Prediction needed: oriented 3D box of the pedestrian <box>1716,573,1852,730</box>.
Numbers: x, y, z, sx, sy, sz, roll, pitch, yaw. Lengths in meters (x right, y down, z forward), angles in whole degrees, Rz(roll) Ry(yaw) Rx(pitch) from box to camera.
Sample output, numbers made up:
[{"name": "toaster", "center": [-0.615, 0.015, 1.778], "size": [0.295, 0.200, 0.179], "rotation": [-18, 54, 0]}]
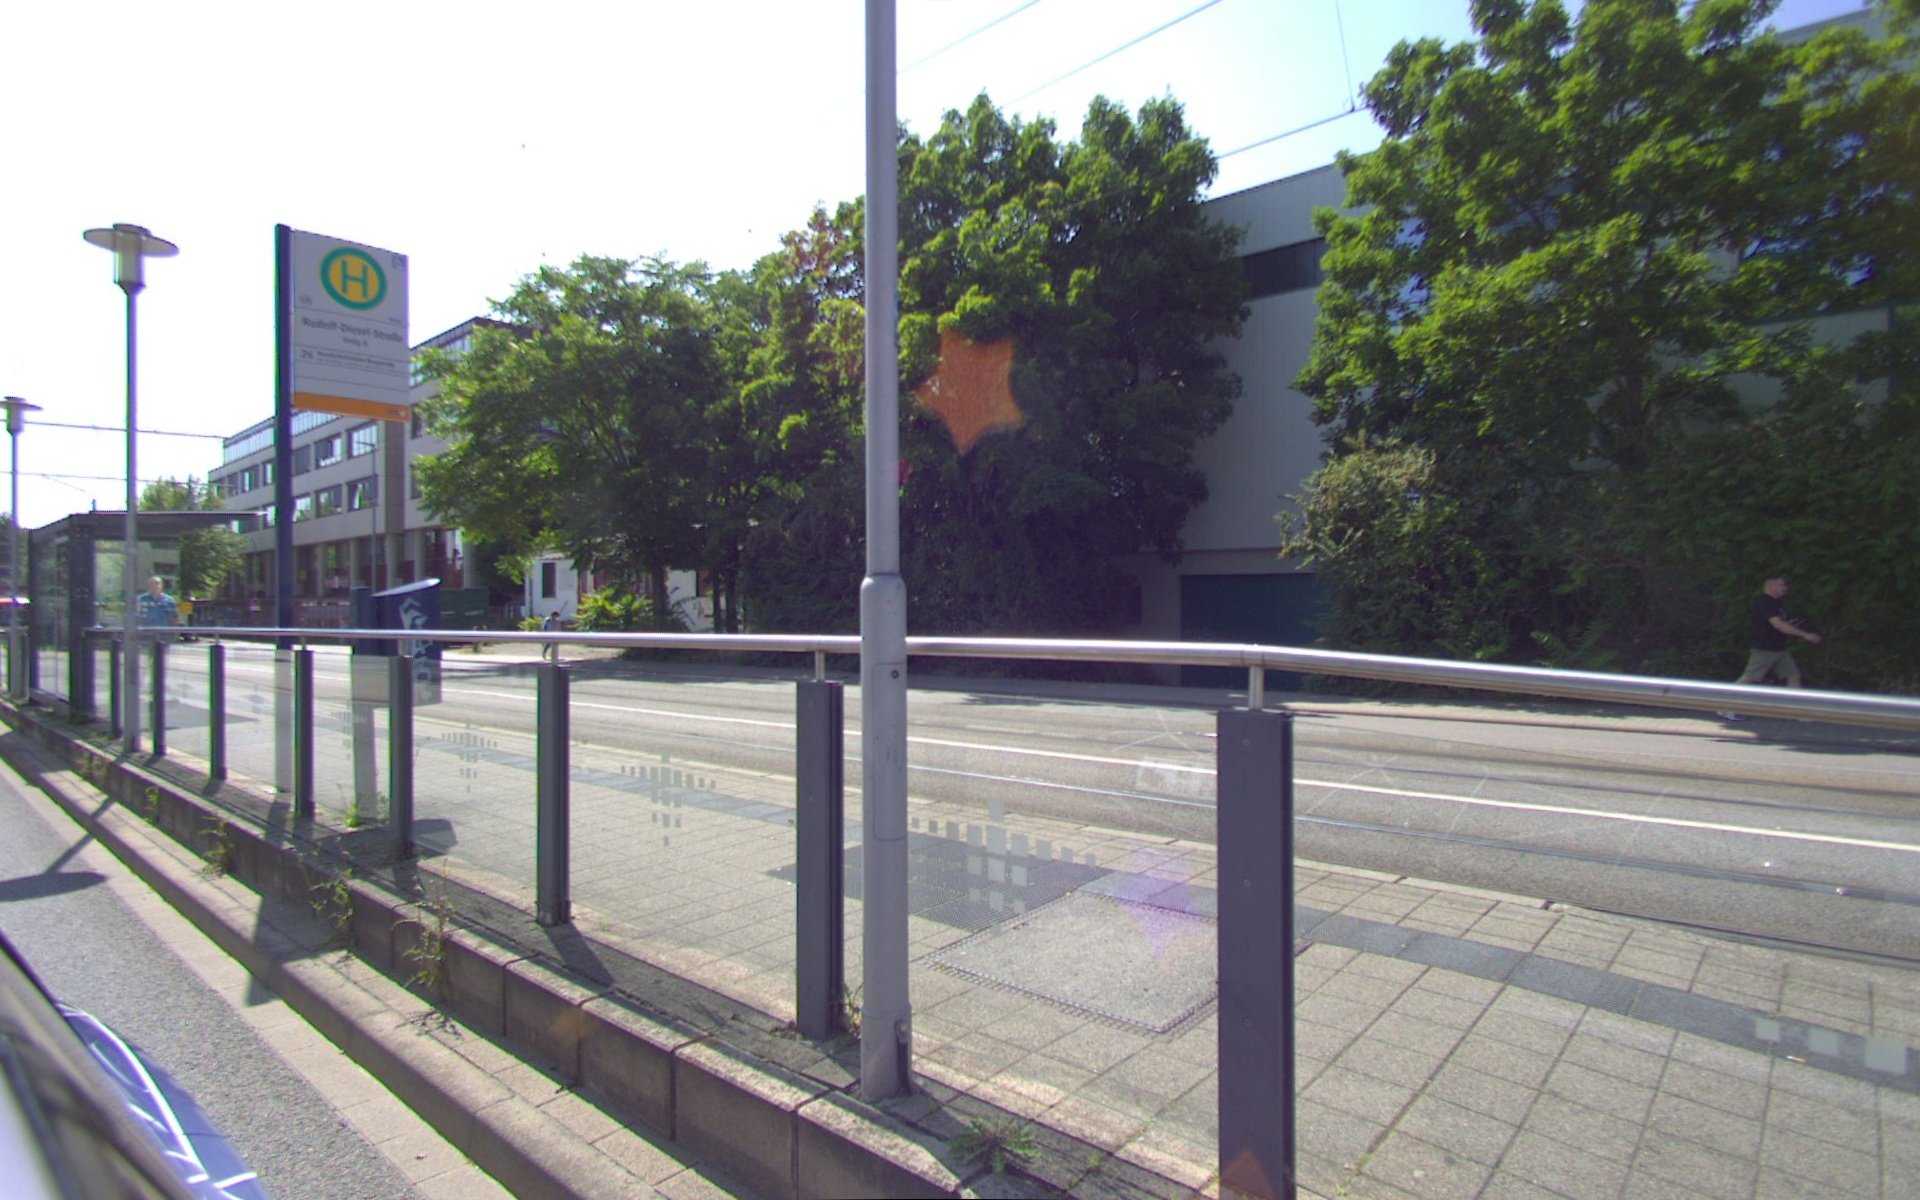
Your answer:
[{"name": "pedestrian", "center": [9.437, 0.559, 11.603], "size": [1.160, 1.683, 0.876], "rotation": [-1, 0, 42]}]

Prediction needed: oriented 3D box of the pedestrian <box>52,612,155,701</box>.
[{"name": "pedestrian", "center": [-11.295, 0.731, 13.347], "size": [0.726, 1.107, 0.933], "rotation": [-2, -1, 41]}]

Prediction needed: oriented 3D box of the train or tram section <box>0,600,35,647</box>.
[{"name": "train or tram section", "center": [-76.538, 1.920, 80.867], "size": [12.324, 3.511, 2.645], "rotation": [-2, -1, 42]}]

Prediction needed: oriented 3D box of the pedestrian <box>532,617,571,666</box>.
[{"name": "pedestrian", "center": [-13.149, 1.317, 32.579], "size": [0.845, 1.538, 0.861], "rotation": [-2, -1, 41]}]

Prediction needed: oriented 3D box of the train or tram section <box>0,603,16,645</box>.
[{"name": "train or tram section", "center": [-86.054, 2.180, 89.494], "size": [13.386, 3.511, 2.645], "rotation": [-2, -1, 42]}]

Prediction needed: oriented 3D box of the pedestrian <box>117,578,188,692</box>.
[{"name": "pedestrian", "center": [-12.701, 0.539, 15.909], "size": [0.944, 1.738, 0.716], "rotation": [-2, -1, 42]}]

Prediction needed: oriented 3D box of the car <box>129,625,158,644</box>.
[{"name": "car", "center": [-70.731, 3.010, 87.679], "size": [1.843, 1.630, 4.006], "rotation": [1, -2, -41]}]
